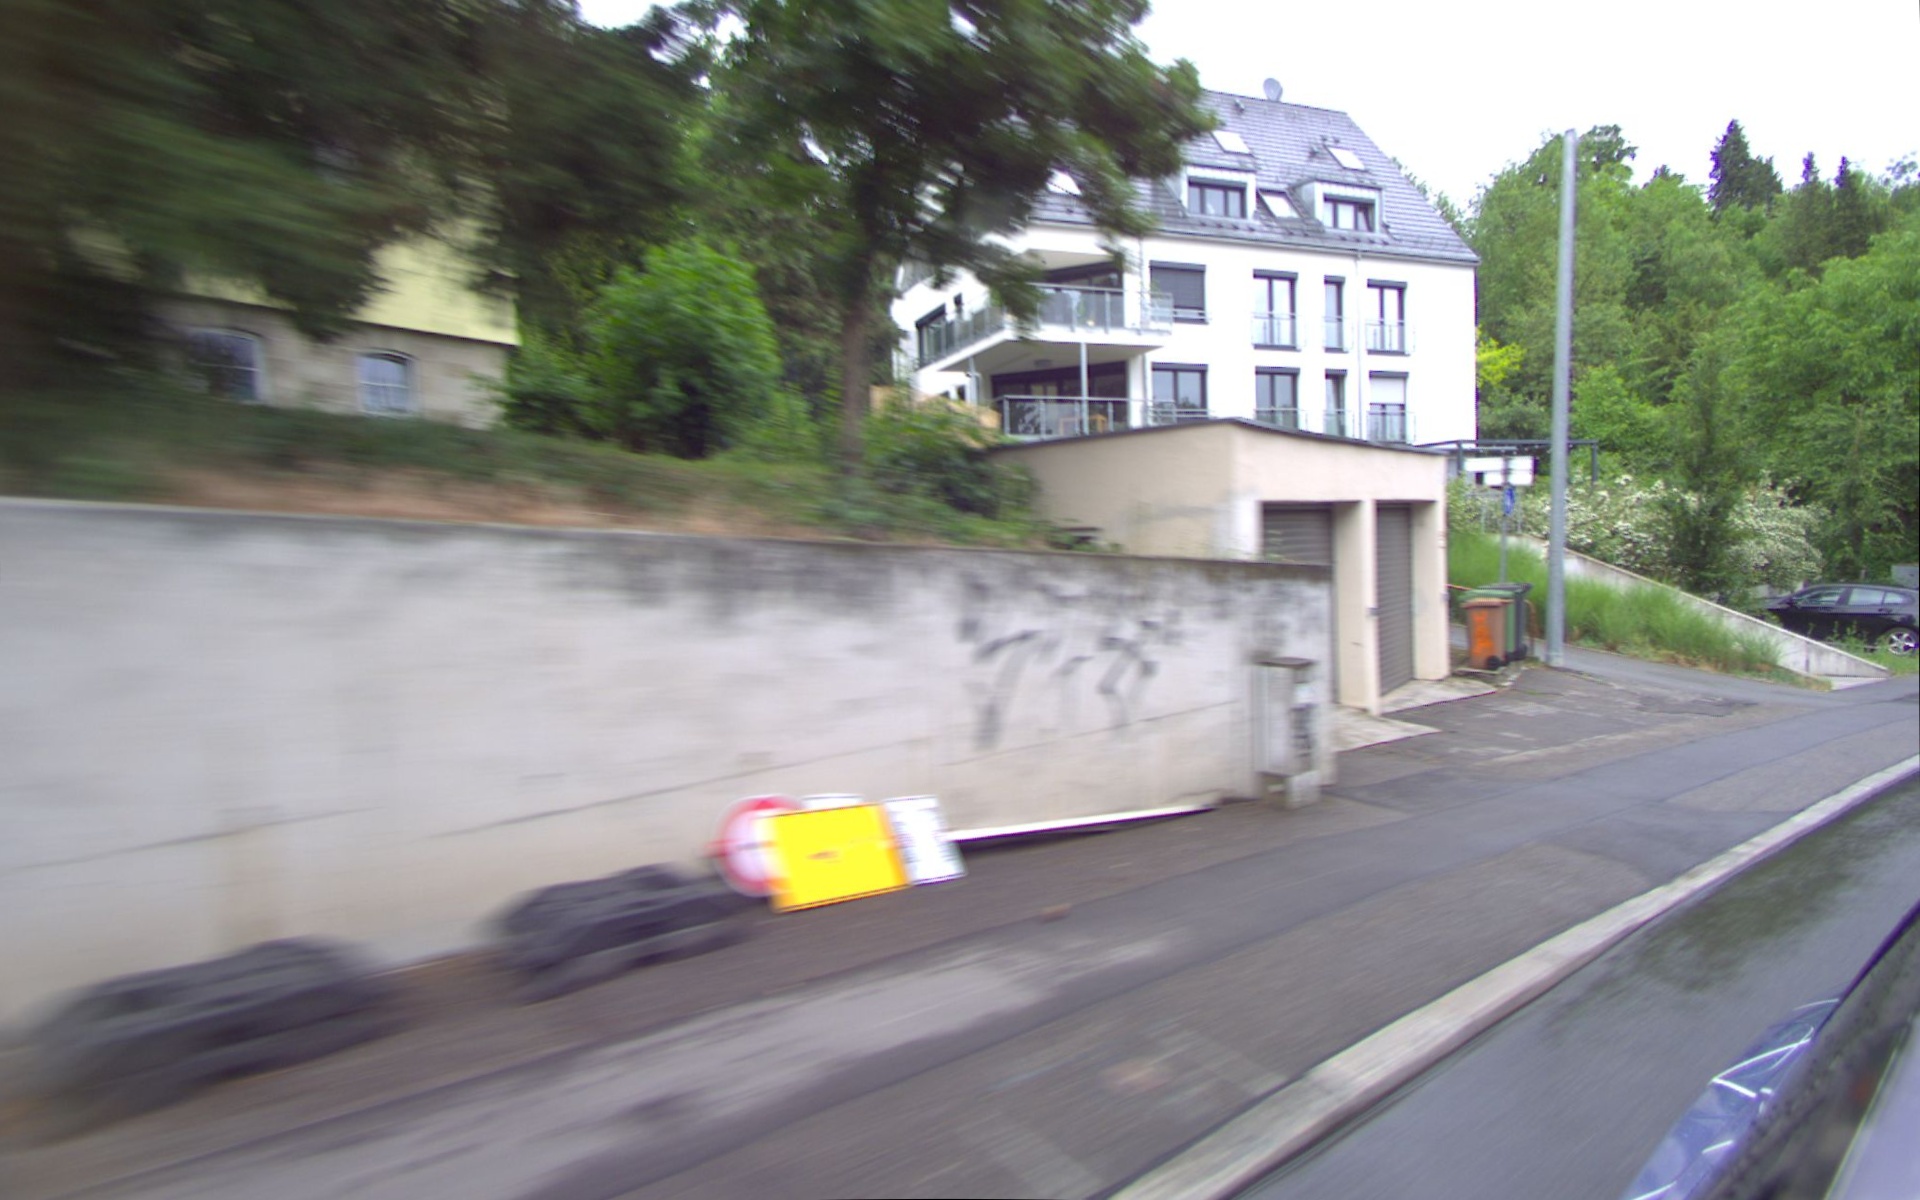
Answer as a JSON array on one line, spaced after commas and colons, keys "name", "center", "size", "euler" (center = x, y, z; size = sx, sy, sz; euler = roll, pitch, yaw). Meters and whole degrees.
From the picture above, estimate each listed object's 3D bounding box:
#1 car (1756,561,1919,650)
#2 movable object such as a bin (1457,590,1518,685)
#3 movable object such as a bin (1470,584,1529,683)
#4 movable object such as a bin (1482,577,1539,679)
[{"name": "car", "center": [19.443, 0.088, 21.607], "size": [1.549, 1.651, 3.472], "euler": [-1, 5, -35]}, {"name": "movable object such as a bin", "center": [6.946, 0.478, 13.333], "size": [0.574, 1.190, 0.436], "euler": [3, 3, 45]}, {"name": "movable object such as a bin", "center": [7.291, 0.433, 13.690], "size": [0.563, 1.283, 0.446], "euler": [3, 3, 45]}, {"name": "movable object such as a bin", "center": [7.639, 0.372, 14.044], "size": [0.553, 1.367, 0.456], "euler": [3, 2, 45]}]
